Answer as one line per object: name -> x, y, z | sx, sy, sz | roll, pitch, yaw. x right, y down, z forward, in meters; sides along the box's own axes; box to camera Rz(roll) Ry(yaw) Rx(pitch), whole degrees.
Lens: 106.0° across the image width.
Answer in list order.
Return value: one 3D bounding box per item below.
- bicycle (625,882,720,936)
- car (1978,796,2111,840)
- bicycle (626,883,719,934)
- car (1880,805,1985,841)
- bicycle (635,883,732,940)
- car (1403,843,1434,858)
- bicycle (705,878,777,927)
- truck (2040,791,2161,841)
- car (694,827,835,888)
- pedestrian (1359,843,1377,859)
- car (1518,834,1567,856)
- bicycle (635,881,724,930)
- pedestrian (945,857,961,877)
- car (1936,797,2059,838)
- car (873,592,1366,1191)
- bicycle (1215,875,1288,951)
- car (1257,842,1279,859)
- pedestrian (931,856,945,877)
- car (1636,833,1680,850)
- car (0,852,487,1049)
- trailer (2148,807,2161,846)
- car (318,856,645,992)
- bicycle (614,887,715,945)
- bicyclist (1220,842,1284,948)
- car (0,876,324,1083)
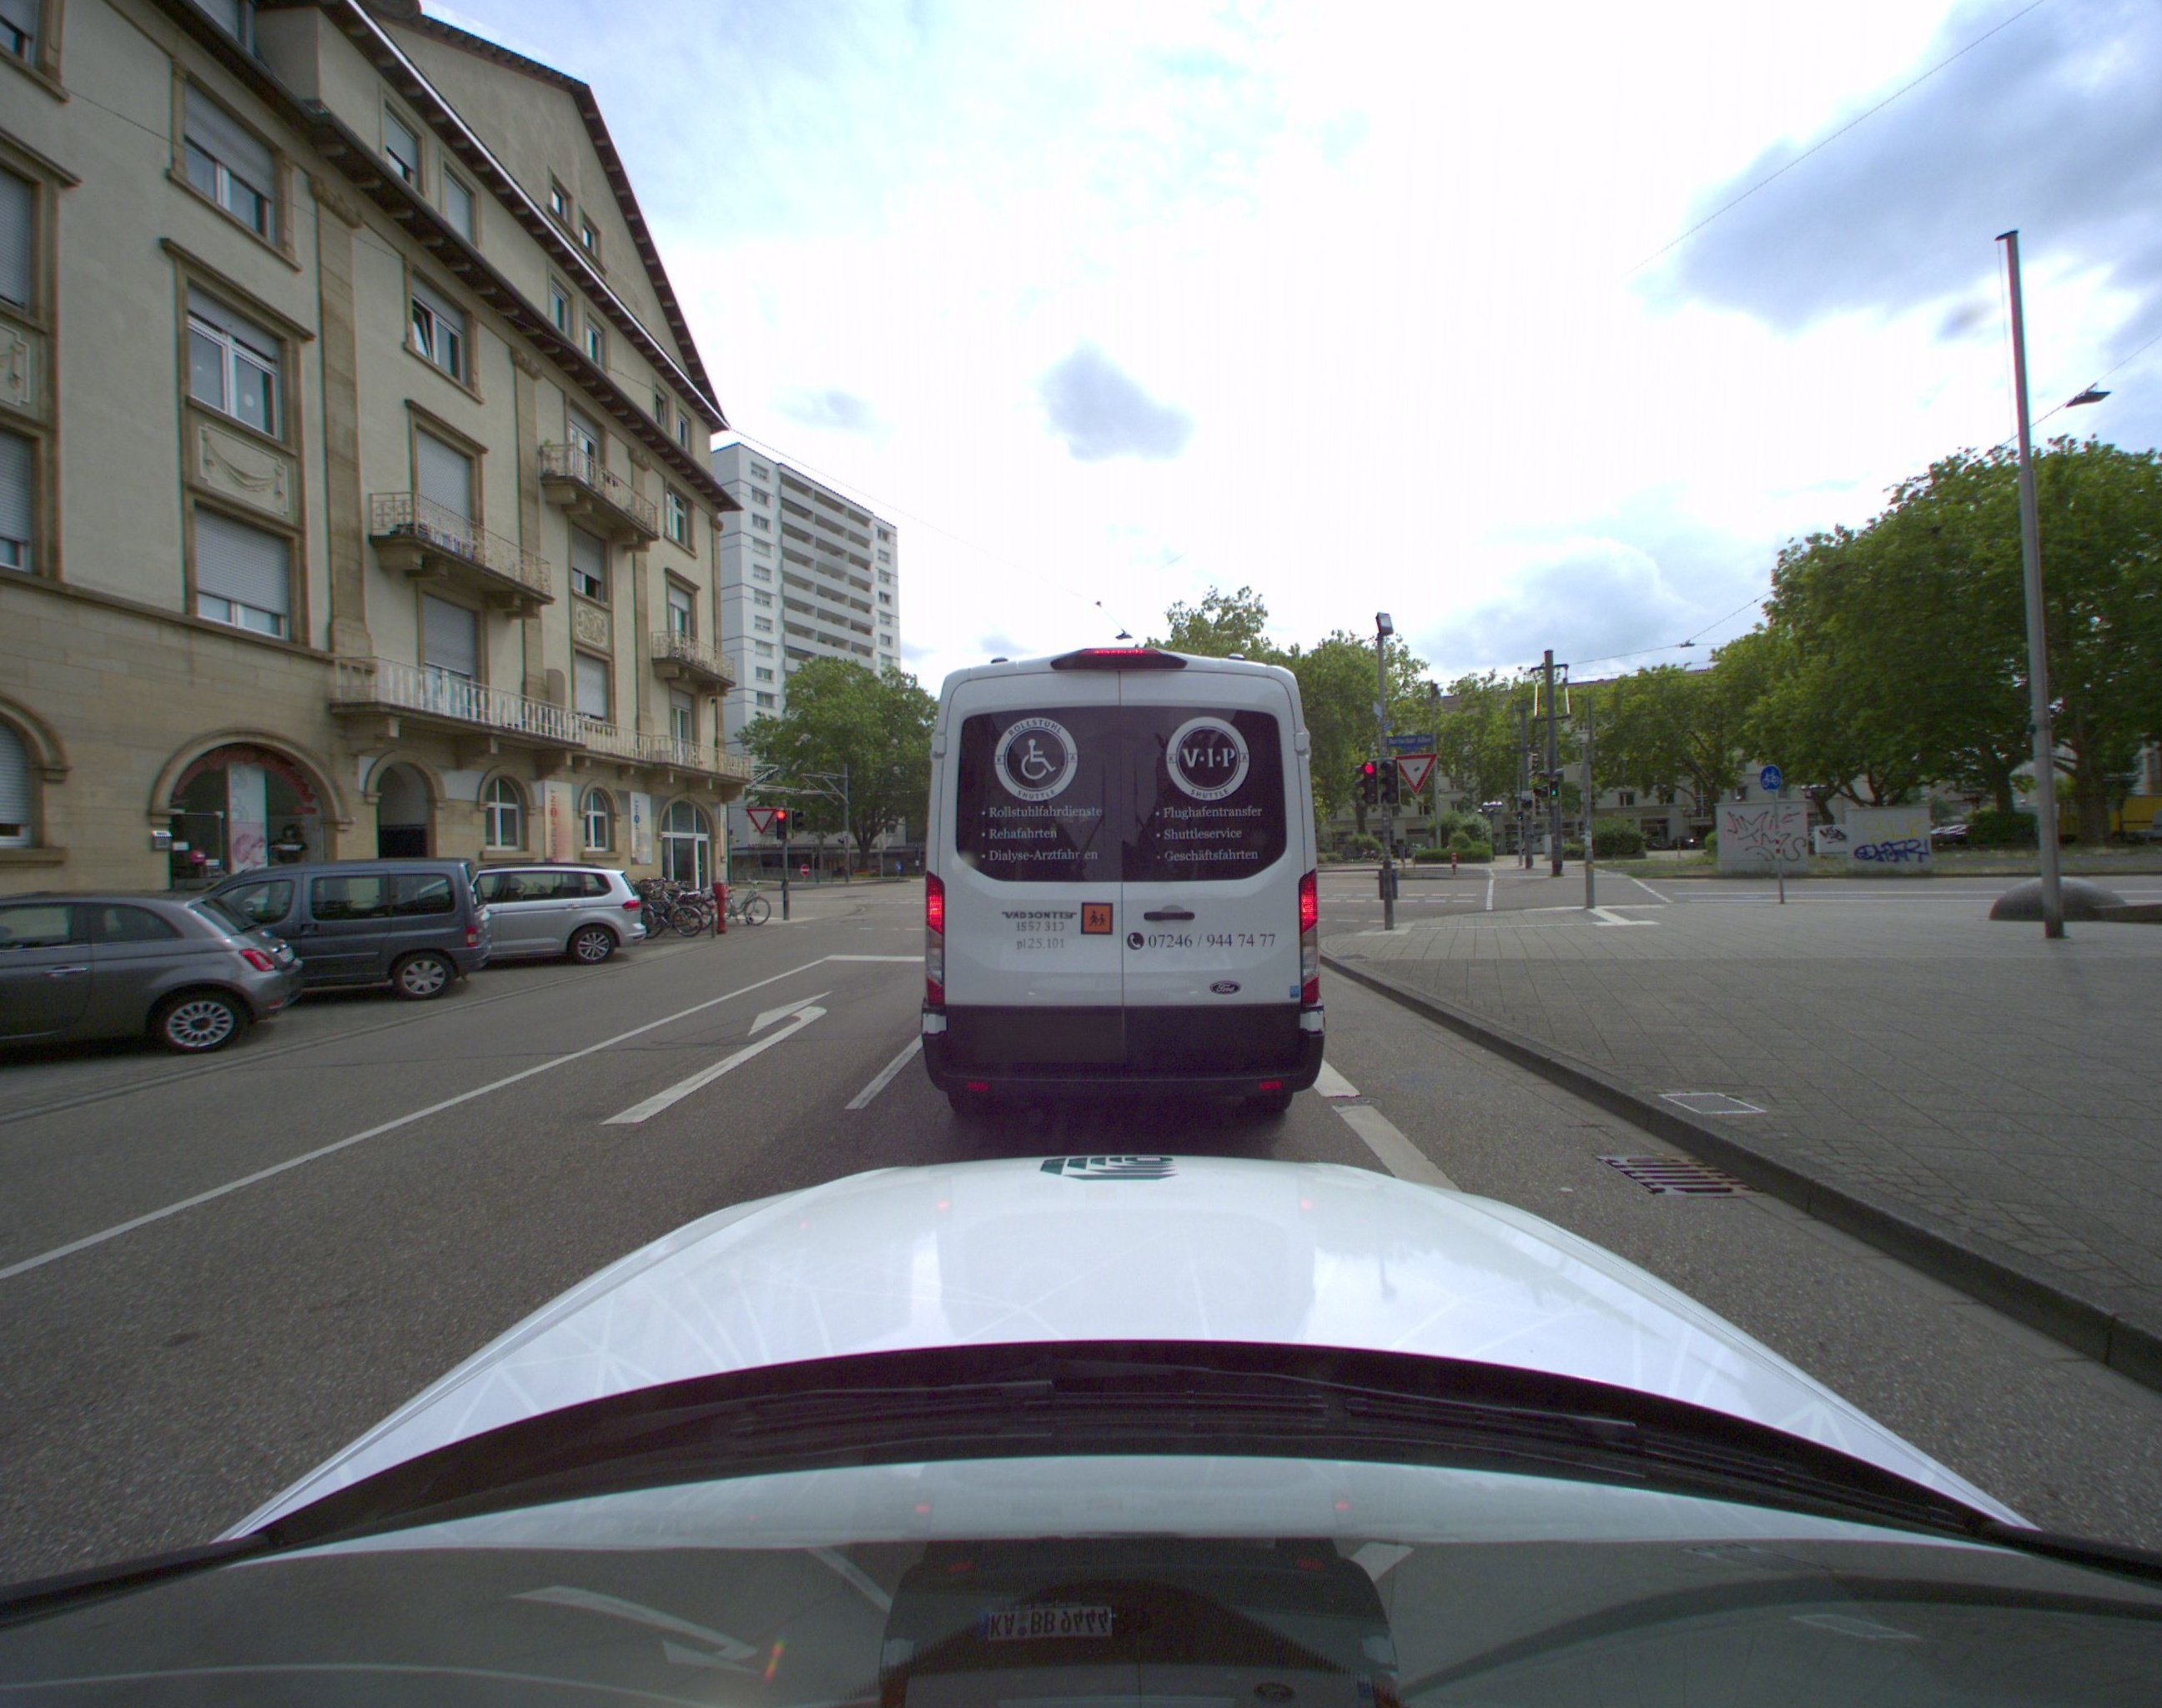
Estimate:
bicycle -> -9.152, 1.218, 18.287 | 1.807, 1.166, 0.593 | 0, 0, -6
car -> 64.371, -2.366, 54.559 | 5.271, 2.585, 2.192 | -2, -1, 24
bicycle -> -9.459, 1.256, 18.907 | 1.807, 1.120, 0.593 | 0, 0, -6
car -> 68.905, -2.493, 66.019 | 5.271, 2.585, 2.512 | -2, -1, 24
bicycle -> -8.550, 1.226, 17.535 | 1.800, 1.120, 0.595 | 2, 0, 5
car -> 36.252, -0.404, 87.521 | 1.983, 1.503, 4.008 | -2, 0, 7
bicycle -> -8.643, 1.218, 20.703 | 1.859, 1.167, 0.500 | 0, 0, 22
truck -> 58.678, -2.110, 46.202 | 3.042, 2.577, 6.549 | -2, 0, 25
car -> -22.412, 0.307, 57.495 | 9.793, 3.915, 3.476 | -2, 0, 26
pedestrian -> 24.692, -0.254, 70.007 | 1.086, 1.236, 1.443 | -4, -1, 6
car -> 44.017, -0.862, 77.756 | 3.950, 1.883, 1.868 | -2, 0, 26
bicycle -> -9.643, 1.231, 19.609 | 1.807, 1.120, 0.593 | 0, 0, -6
pedestrian -> -9.992, 1.041, 63.470 | 0.922, 1.514, 0.727 | -2, 0, 16
car -> 65.717, -2.573, 58.549 | 5.271, 2.585, 2.512 | -2, -1, 24
car -> 0.204, 0.131, 5.927 | 2.174, 2.647, 4.629 | 0, 1, 0
bicycle -> 2.837, 0.926, 13.398 | 0.895, 1.075, 1.980 | -2, 0, 19
car -> 21.696, -0.387, 94.692 | 1.983, 1.930, 4.008 | -2, 0, 7
pedestrian -> -11.186, 0.990, 63.678 | 0.801, 1.572, 0.727 | -2, 0, 16
car -> 55.573, -1.201, 78.528 | 1.757, 1.503, 4.008 | -2, 0, 7
car -> -9.892, 0.984, 10.080 | 4.031, 1.878, 1.776 | -2, 0, -37
trailer -> 55.454, -1.448, 39.308 | 4.381, 1.925, 1.865 | -2, 0, 26
car -> -9.566, 0.995, 13.318 | 4.031, 1.773, 1.776 | -2, 0, -37
bicycle -> -8.618, 1.277, 16.864 | 1.799, 1.120, 0.595 | -2, 0, 8
bicyclist -> 2.810, 0.654, 13.352 | 0.896, 1.683, 0.760 | -2, 0, 18
car -> -9.821, 1.120, 7.452 | 4.031, 1.651, 1.776 | -2, 0, -37
